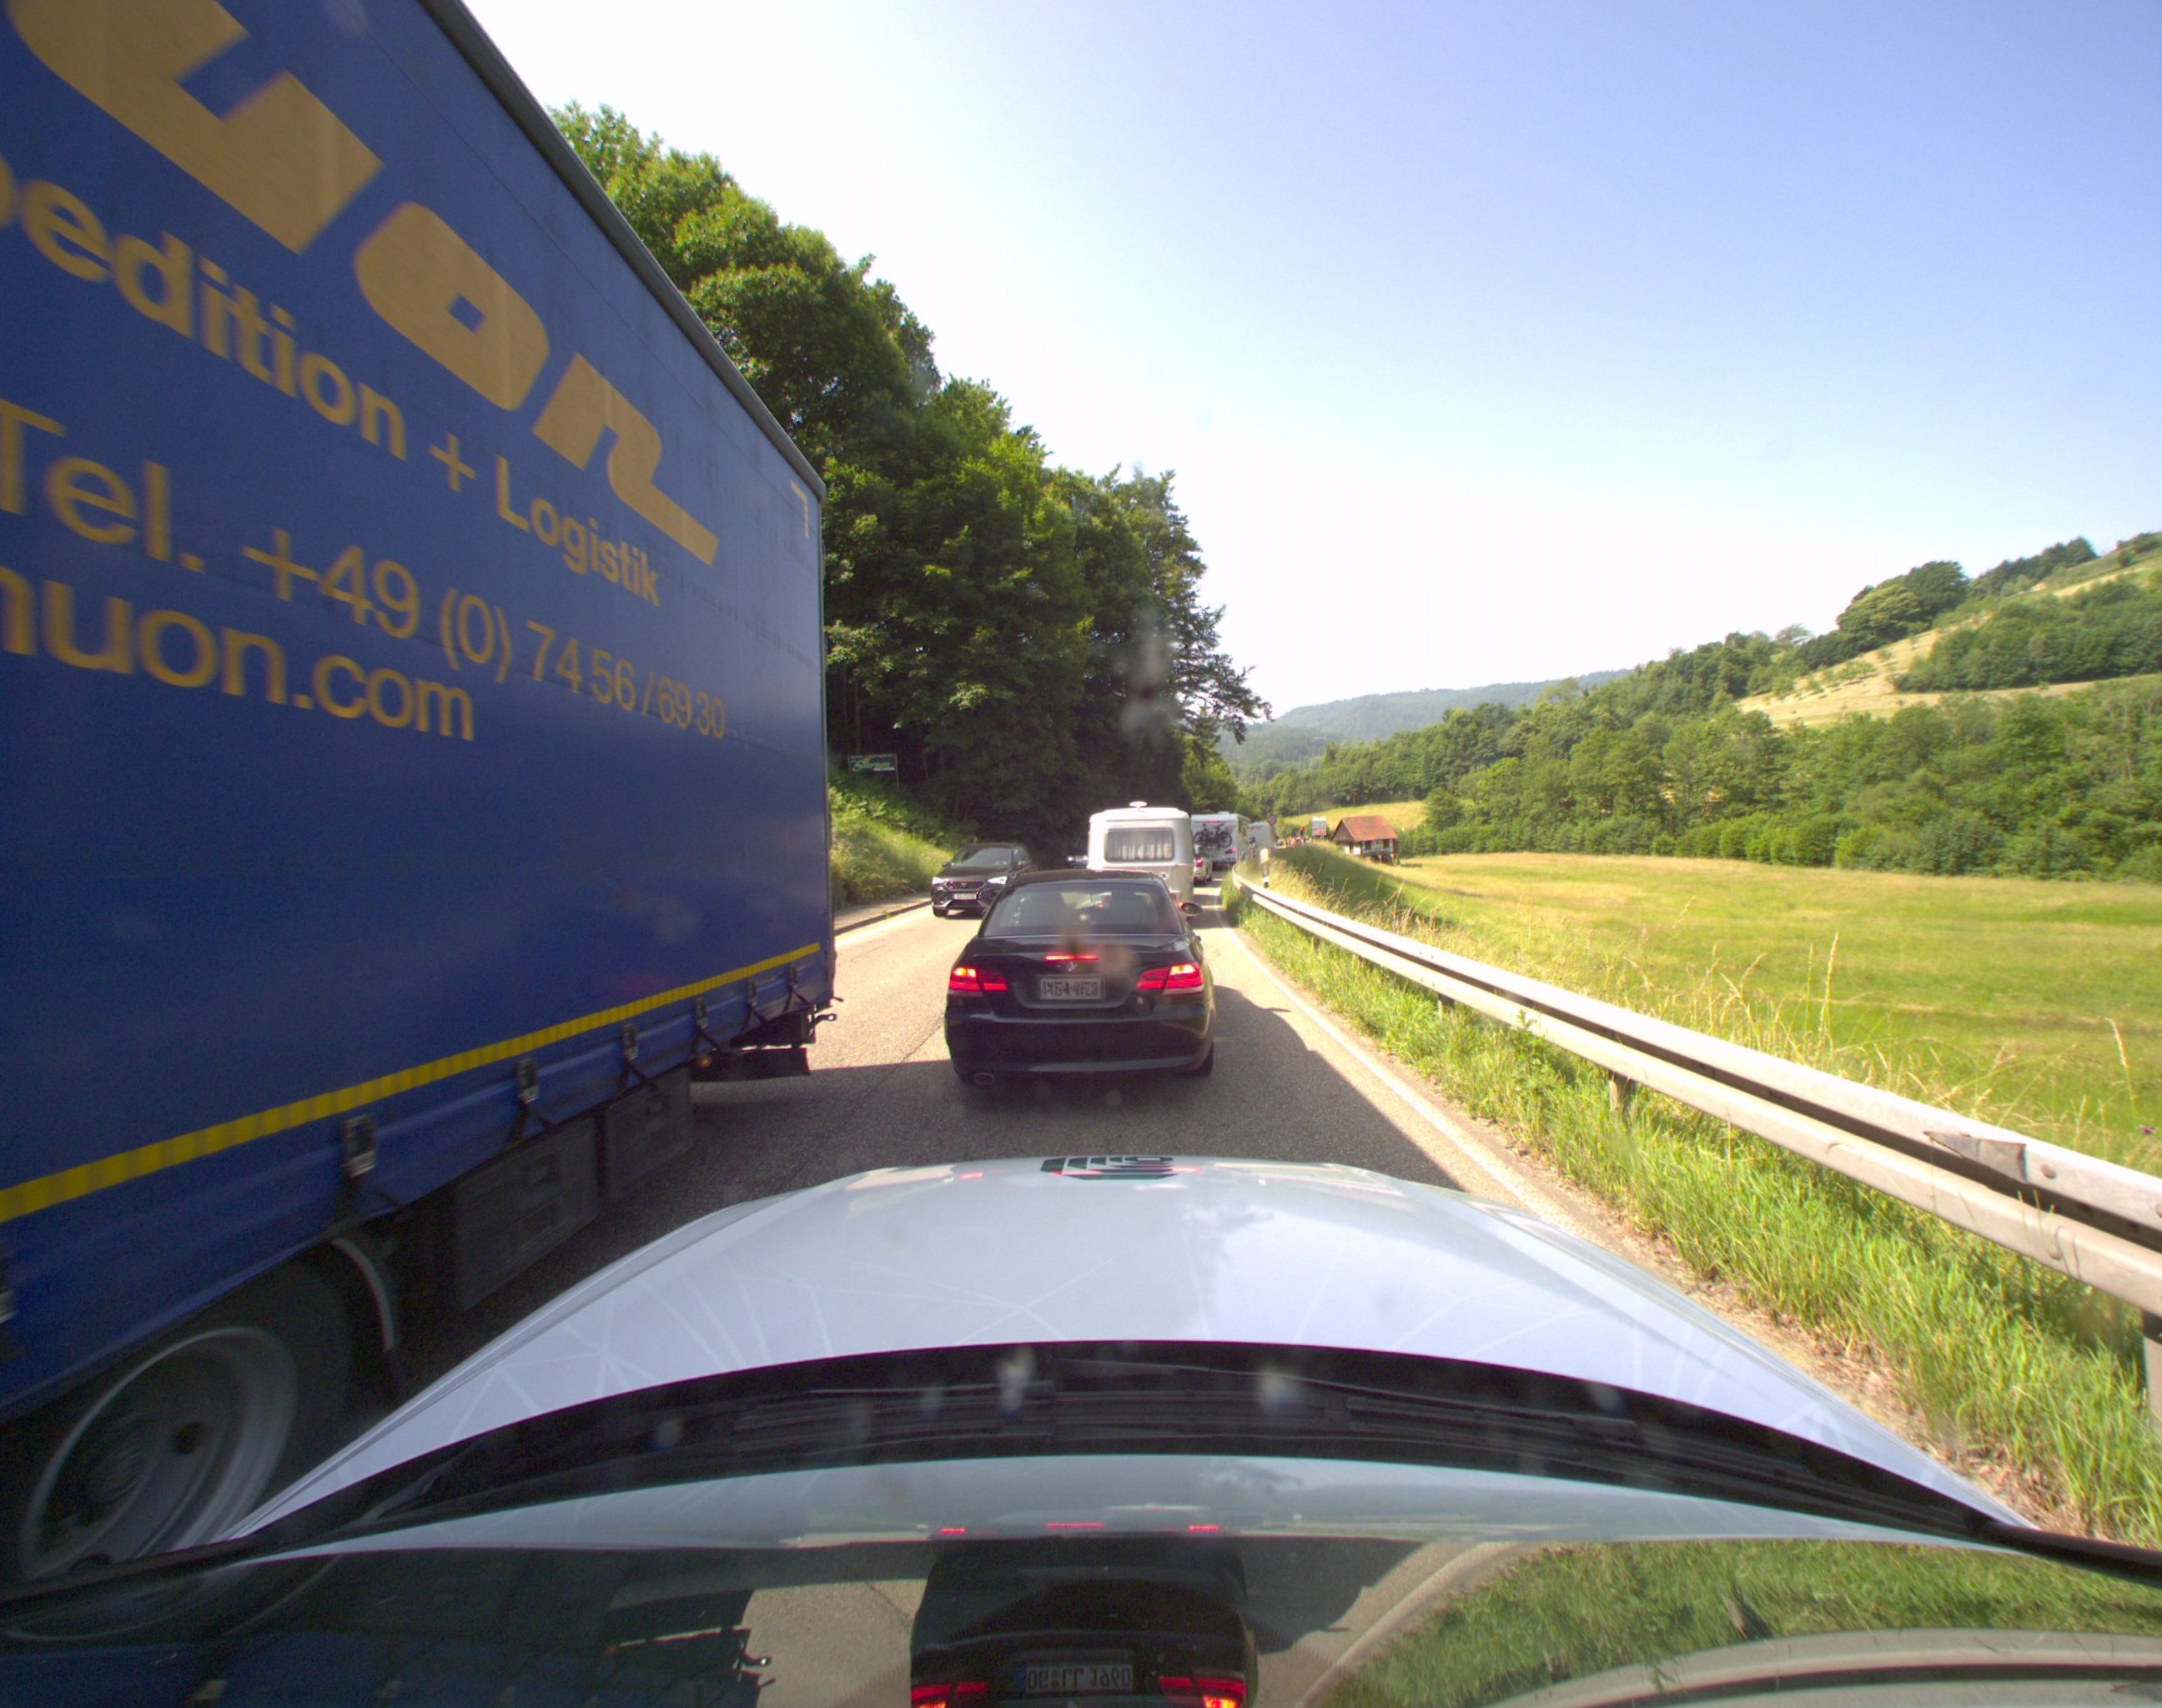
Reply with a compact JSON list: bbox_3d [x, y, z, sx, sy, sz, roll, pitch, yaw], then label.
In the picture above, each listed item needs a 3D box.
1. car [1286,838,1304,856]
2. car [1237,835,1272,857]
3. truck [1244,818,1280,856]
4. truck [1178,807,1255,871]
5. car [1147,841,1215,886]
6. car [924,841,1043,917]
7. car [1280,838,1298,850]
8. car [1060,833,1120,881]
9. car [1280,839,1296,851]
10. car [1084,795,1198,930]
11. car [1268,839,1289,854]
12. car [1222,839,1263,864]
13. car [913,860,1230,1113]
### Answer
[{"bbox_3d":[24.753,-0.805,94.088,1.979,1.925,4.016,2,0,15],"label":"car"},{"bbox_3d":[12.071,-0.581,56.360,1.772,1.464,4.021,1,2,20],"label":"car"},{"bbox_3d":[13.984,-1.226,62.646,2.220,2.804,6.260,-1,0,17],"label":"truck"},{"bbox_3d":[7.004,-0.800,41.296,2.768,2.997,6.901,1,2,18],"label":"truck"},{"bbox_3d":[3.655,0.282,29.144,1.979,1.484,4.015,1,1,13],"label":"car"},{"bbox_3d":[-2.160,0.495,19.175,1.812,1.584,4.091,0,1,7],"label":"car"},{"bbox_3d":[28.514,-1.361,111.380,1.977,1.575,4.020,-1,0,19],"label":"car"},{"bbox_3d":[0.463,0.074,33.615,1.908,1.827,4.501,0,1,8],"label":"car"},{"bbox_3d":[30.770,-1.357,121.037,1.977,1.684,4.020,0,-1,20],"label":"car"},{"bbox_3d":[1.360,0.110,16.884,1.983,2.353,4.924,-1,1,7],"label":"car"},{"bbox_3d":[20.555,-0.774,84.836,1.892,1.486,4.018,-1,0,17],"label":"car"},{"bbox_3d":[10.108,-0.199,50.724,1.977,1.464,4.020,1,2,19],"label":"car"},{"bbox_3d":[0.094,0.764,6.454,1.763,1.335,3.772,-1,1,5],"label":"car"}]
